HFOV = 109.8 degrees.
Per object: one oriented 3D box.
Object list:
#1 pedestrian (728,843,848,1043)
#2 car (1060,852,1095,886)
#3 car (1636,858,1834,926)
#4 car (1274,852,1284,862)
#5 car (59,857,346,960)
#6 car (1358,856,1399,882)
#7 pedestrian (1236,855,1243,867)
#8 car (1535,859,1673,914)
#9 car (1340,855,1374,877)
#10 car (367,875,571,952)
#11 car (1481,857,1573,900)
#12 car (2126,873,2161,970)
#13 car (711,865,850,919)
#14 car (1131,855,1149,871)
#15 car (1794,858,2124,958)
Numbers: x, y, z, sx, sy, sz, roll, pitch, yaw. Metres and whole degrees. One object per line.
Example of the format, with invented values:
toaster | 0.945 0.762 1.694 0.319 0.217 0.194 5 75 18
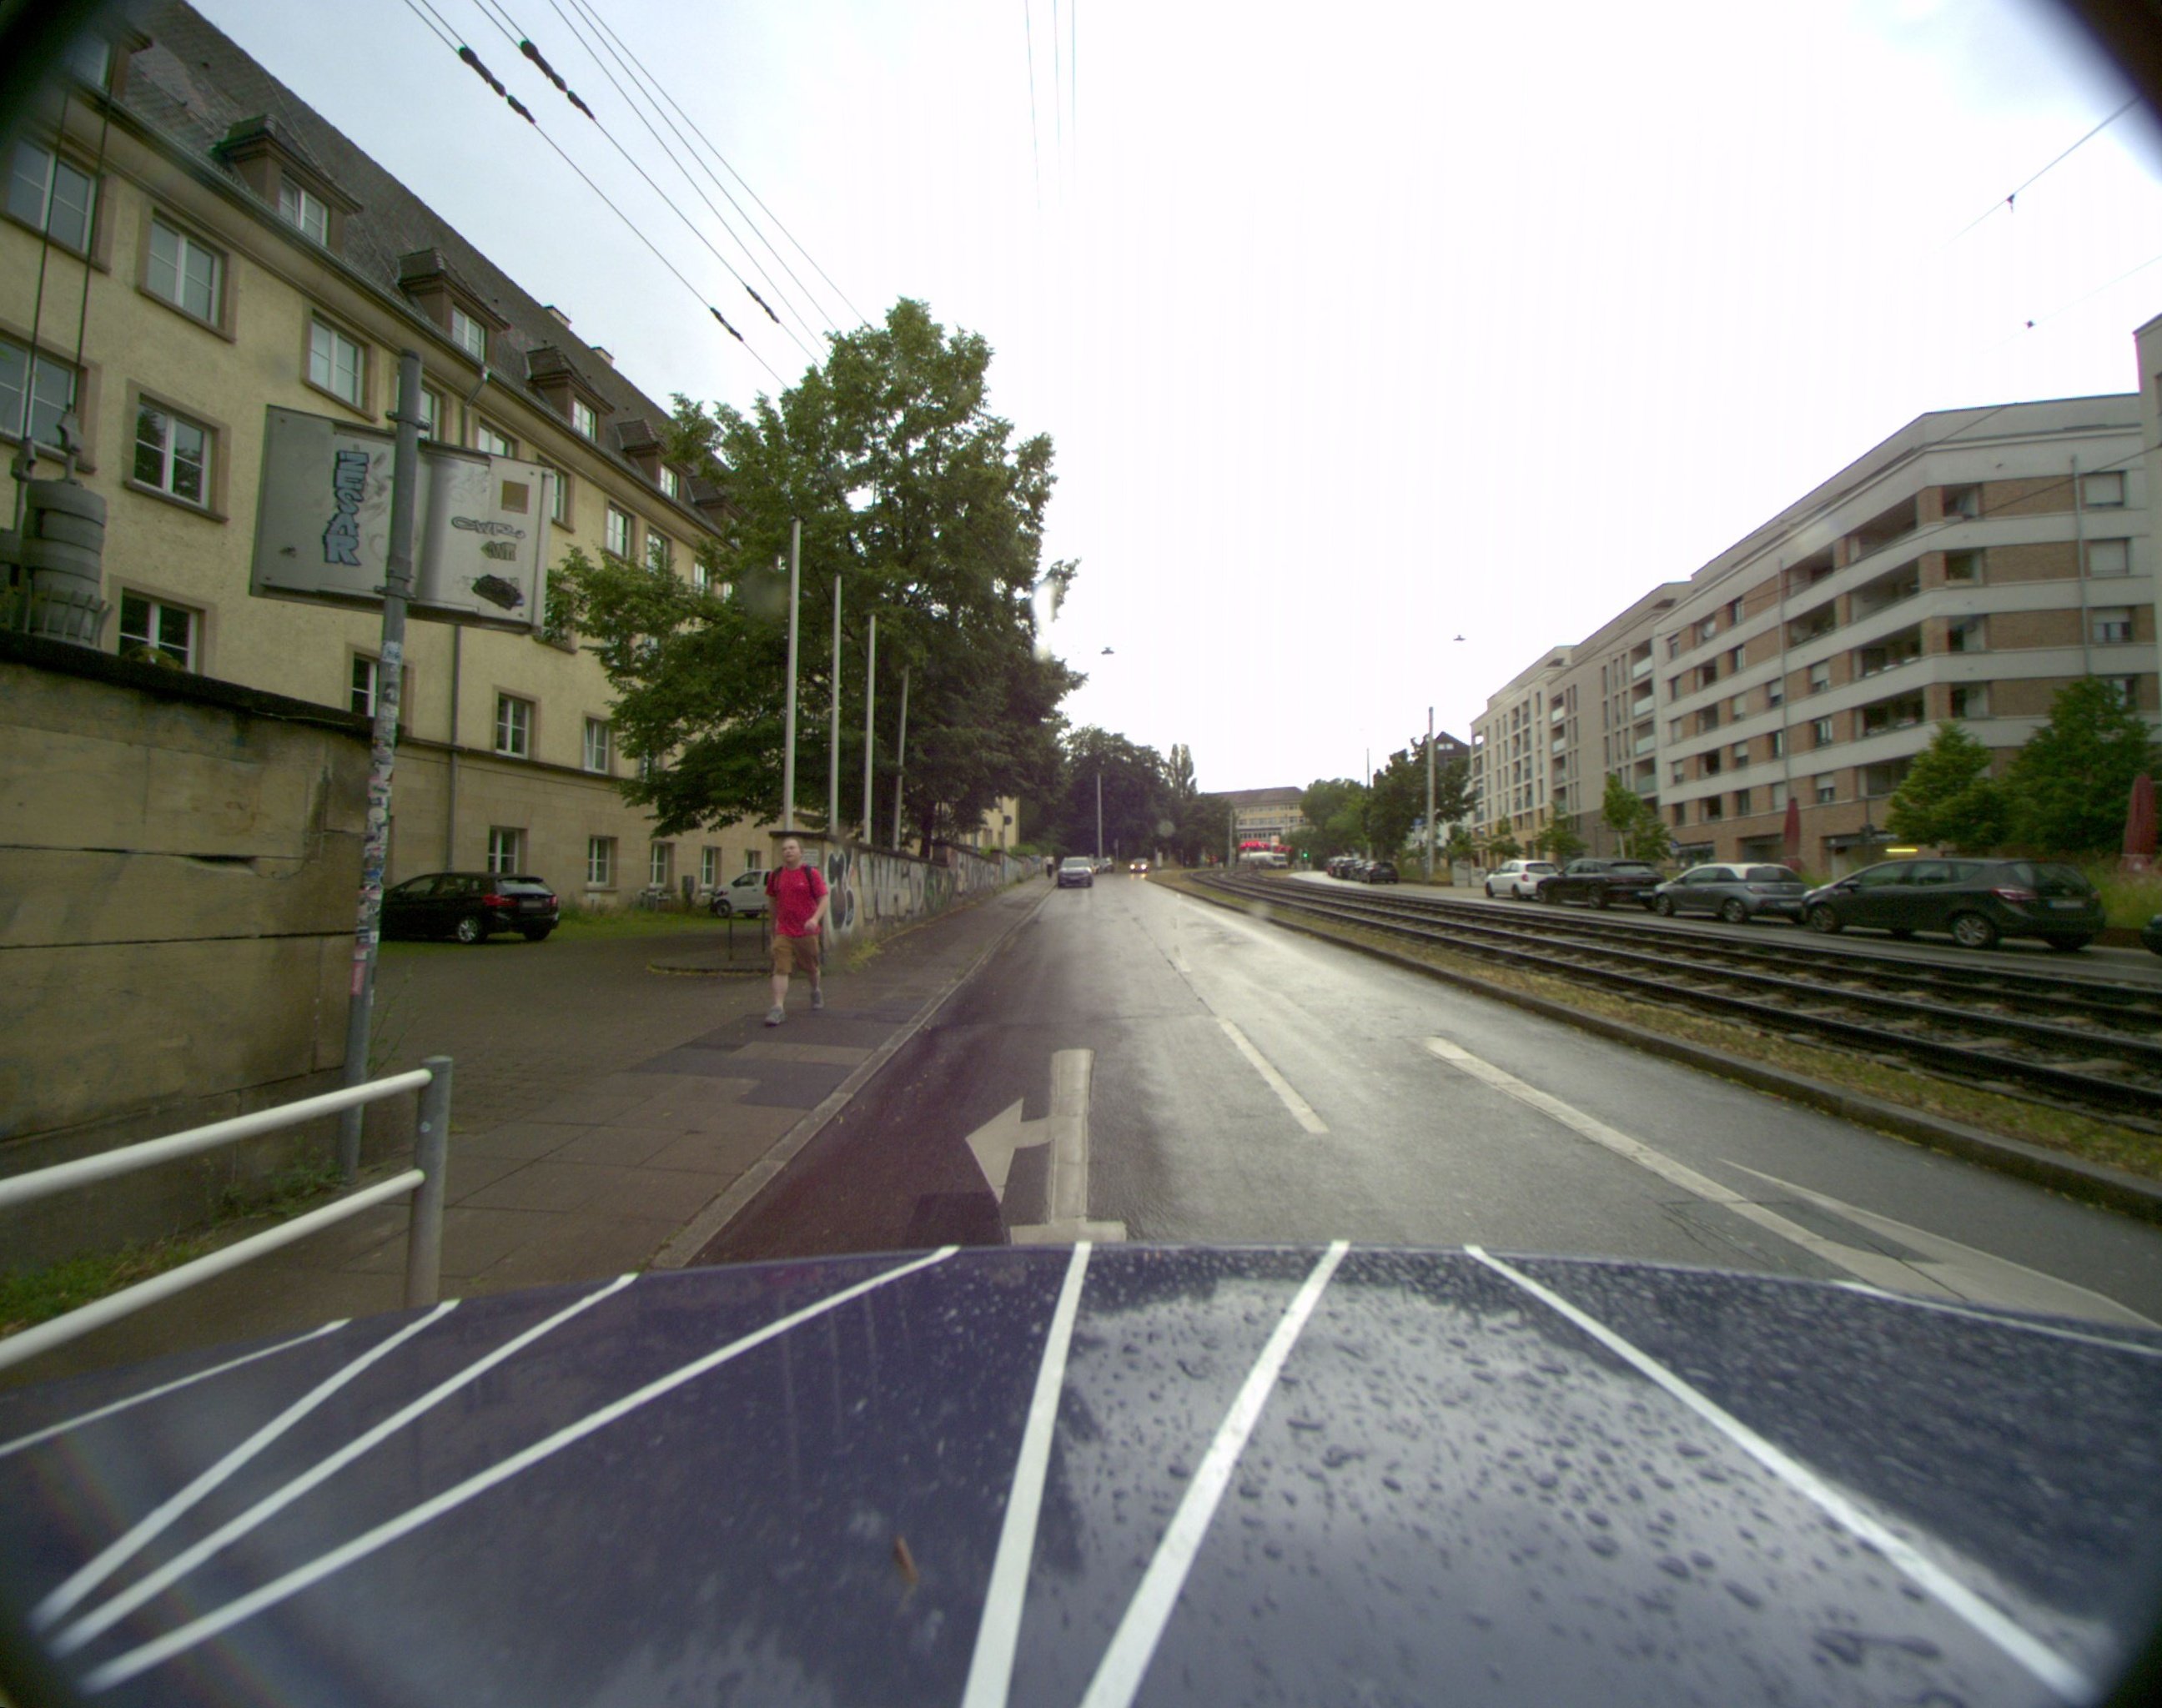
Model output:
pedestrian | -2.730 0.798 7.164 0.748 1.754 0.818 2 0 0
car | -0.180 0.752 40.812 1.726 1.676 3.866 -3 1 0
car | 16.576 0.891 19.551 1.684 1.496 3.928 -1 0 0
car | 35.273 0.495 135.271 1.666 1.597 3.812 -2 1 16
car | -14.294 0.872 12.389 3.908 1.461 1.614 -2 1 18
car | 18.954 0.912 48.482 1.653 1.455 3.672 -3 1 9
pedestrian | 23.400 1.092 112.010 0.749 1.754 0.818 2 0 -8
car | 16.574 0.972 24.388 1.683 1.496 4.406 -1 0 5
car | 20.482 0.886 56.540 1.653 1.455 3.672 -3 1 9
car | -13.824 1.334 17.192 3.913 1.499 1.825 -2 1 22
car | 17.098 0.904 29.348 1.649 1.496 3.782 -1 0 6
car | 16.370 0.974 9.273 1.684 1.372 4.032 -1 0 0
car | -11.309 1.410 28.682 4.526 1.769 1.824 -3 1 11
car | 5.916 0.897 76.471 1.594 1.455 3.669 0 0 0
car | 16.166 0.885 14.347 1.684 1.554 3.928 -1 0 0
